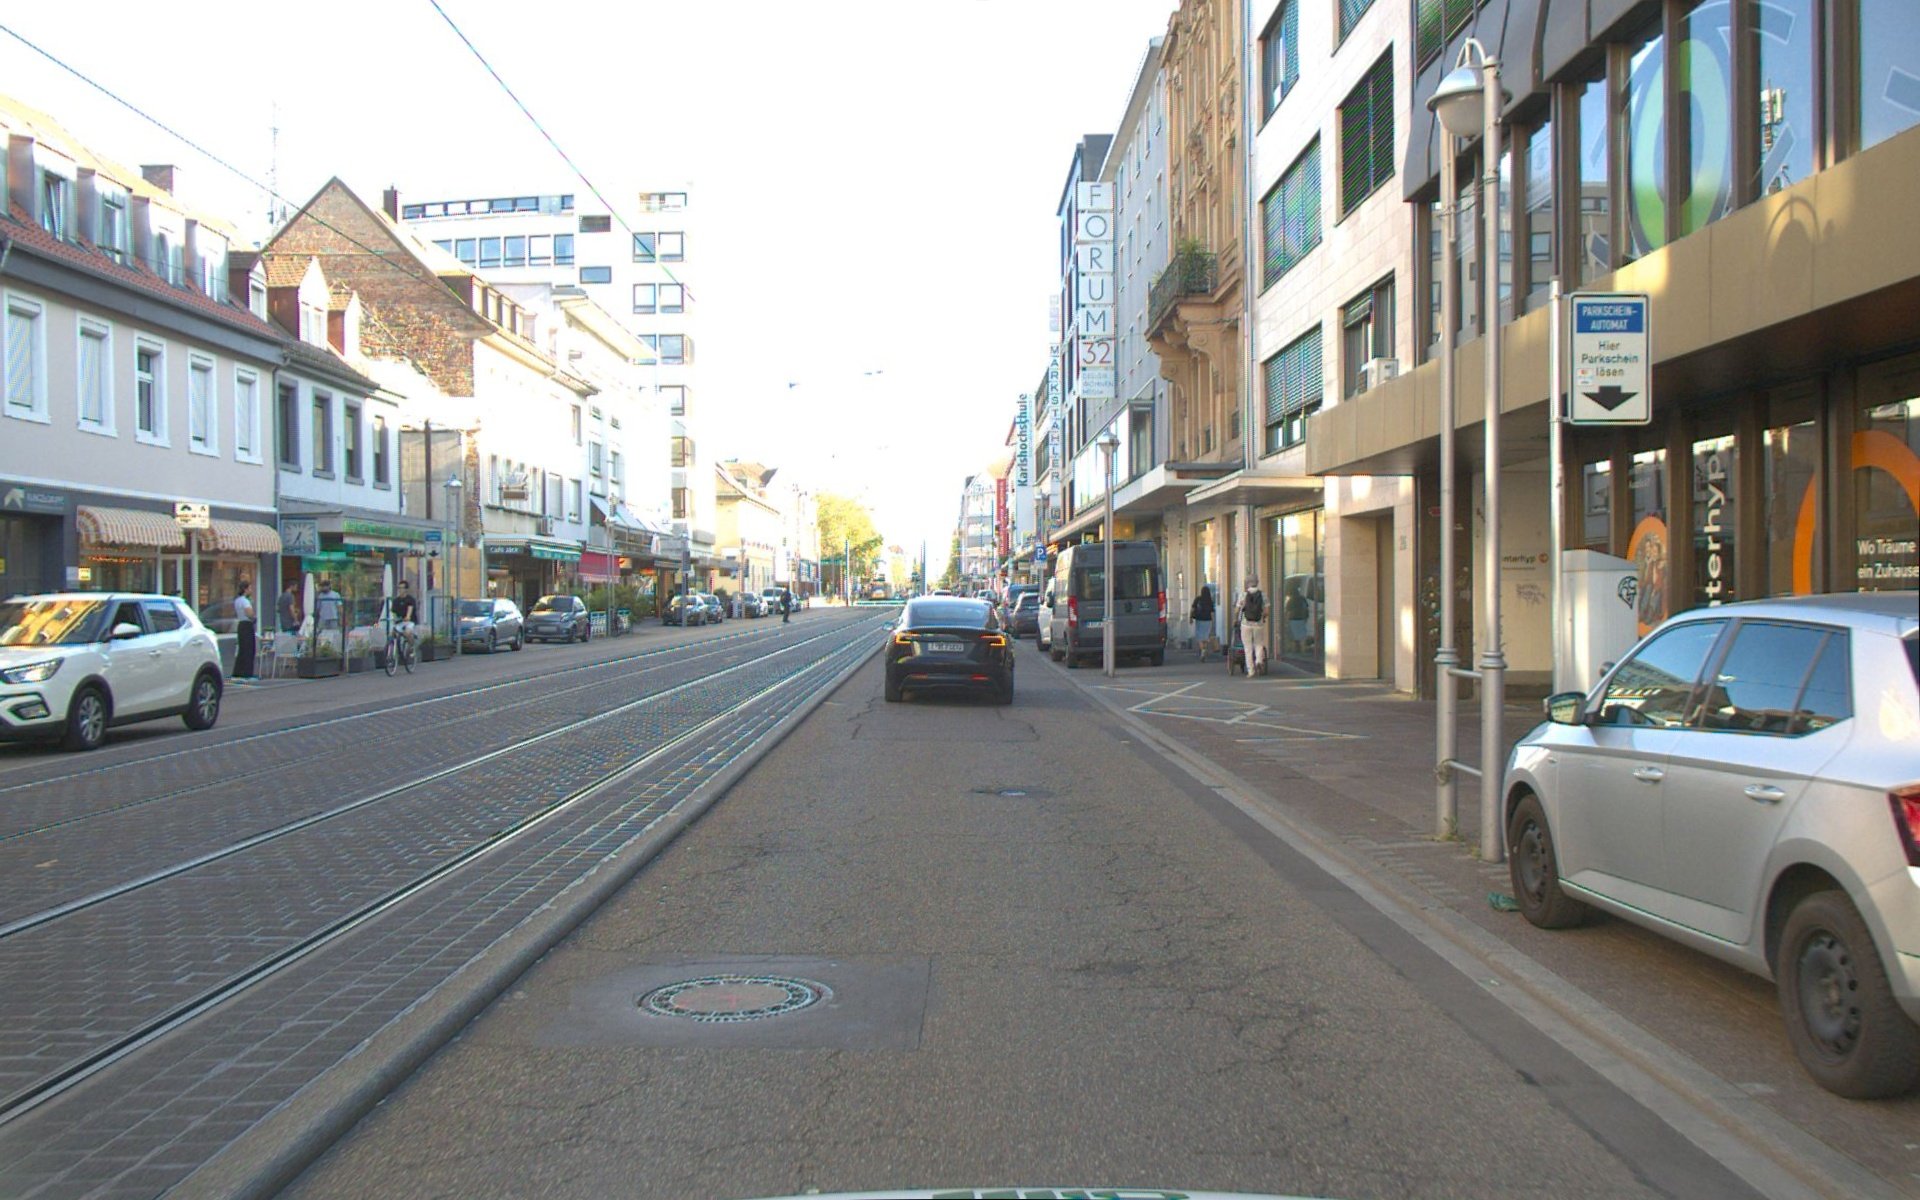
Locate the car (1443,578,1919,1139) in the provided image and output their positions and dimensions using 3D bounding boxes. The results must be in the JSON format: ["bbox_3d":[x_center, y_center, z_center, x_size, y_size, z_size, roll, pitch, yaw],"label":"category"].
[{"bbox_3d":[3.402,0.673,6.451,1.709,1.487,4.295,-1,0,-1],"label":"car"}]

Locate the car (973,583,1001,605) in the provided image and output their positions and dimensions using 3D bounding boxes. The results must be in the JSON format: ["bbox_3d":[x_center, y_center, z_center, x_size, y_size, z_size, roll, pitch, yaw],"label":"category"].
[{"bbox_3d":[2.003,-0.442,122.903,1.953,1.570,3.999,-1,0,-1],"label":"car"}]

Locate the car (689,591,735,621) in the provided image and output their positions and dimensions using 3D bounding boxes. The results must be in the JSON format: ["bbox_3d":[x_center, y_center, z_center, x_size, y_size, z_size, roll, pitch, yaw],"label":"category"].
[{"bbox_3d":[-13.453,0.304,89.866,1.733,1.534,3.862,-1,0,3],"label":"car"}]

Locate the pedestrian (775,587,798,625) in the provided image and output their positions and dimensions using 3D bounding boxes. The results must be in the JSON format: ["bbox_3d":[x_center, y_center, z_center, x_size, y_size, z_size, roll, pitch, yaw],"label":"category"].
[{"bbox_3d":[-8.664,0.290,82.489,0.757,1.881,0.827,-1,0,29],"label":"pedestrian"}]

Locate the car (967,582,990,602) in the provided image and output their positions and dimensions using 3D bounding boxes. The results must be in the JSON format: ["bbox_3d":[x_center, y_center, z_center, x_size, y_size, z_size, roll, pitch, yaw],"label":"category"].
[{"bbox_3d":[1.691,-0.723,151.396,1.953,1.784,3.999,-1,0,-1],"label":"car"}]

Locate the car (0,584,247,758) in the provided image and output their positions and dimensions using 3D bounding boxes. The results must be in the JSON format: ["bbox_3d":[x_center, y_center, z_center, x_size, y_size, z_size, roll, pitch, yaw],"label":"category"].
[{"bbox_3d":[-9.516,0.687,17.728,1.851,1.622,4.263,-2,0,0],"label":"car"}]

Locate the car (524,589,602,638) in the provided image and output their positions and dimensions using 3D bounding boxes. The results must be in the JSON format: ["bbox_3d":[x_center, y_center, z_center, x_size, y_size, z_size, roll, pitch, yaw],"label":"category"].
[{"bbox_3d":[-13.315,0.433,55.662,1.641,1.573,3.744,1,0,1],"label":"car"}]

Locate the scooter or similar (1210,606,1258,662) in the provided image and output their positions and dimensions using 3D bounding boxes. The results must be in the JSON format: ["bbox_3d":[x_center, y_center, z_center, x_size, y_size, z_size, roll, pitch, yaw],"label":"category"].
[{"bbox_3d":[5.036,0.612,30.403,0.581,0.952,1.298,-3,0,-2],"label":"scooter or similar"}]

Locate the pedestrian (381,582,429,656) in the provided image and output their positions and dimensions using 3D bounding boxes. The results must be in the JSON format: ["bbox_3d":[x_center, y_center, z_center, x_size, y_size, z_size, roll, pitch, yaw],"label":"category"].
[{"bbox_3d":[-11.203,0.384,33.408,0.611,1.469,0.875,-1,0,4],"label":"pedestrian"}]

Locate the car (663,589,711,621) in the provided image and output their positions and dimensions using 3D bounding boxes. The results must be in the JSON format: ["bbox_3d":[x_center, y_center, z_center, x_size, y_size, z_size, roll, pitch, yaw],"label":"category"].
[{"bbox_3d":[-13.781,0.249,83.790,1.733,1.534,3.864,-1,0,0],"label":"car"}]

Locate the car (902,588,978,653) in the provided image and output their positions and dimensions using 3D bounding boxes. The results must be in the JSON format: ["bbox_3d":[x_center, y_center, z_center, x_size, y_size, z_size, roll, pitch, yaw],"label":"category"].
[{"bbox_3d":[-0.509,0.476,39.867,1.726,1.443,4.353,-1,0,-2],"label":"car"}]

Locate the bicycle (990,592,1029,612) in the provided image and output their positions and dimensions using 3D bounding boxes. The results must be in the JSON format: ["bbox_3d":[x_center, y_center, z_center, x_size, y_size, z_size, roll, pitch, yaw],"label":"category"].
[{"bbox_3d":[2.785,0.115,93.208,2.116,1.116,0.686,-1,0,-3],"label":"bicycle"}]

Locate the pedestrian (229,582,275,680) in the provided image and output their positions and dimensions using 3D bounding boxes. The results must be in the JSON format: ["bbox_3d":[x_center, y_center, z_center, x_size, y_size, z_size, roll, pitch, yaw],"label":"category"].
[{"bbox_3d":[-13.205,0.568,30.828,0.609,1.806,0.708,-1,0,-39],"label":"pedestrian"}]

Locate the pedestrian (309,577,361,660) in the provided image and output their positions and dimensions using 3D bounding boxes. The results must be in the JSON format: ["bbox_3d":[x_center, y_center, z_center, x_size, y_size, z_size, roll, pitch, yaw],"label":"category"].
[{"bbox_3d":[-13.824,0.400,36.600,0.868,1.806,0.688,-1,0,-2],"label":"pedestrian"}]

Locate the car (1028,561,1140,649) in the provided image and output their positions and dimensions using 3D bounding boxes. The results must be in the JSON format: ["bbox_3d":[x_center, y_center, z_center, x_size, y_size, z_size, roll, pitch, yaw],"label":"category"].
[{"bbox_3d":[3.081,0.097,42.037,2.116,1.959,4.614,-4,1,-3],"label":"car"}]

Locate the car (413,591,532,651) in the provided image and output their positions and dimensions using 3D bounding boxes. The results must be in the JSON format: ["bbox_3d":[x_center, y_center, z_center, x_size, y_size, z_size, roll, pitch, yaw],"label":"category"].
[{"bbox_3d":[-13.355,0.579,45.625,1.953,1.558,4.755,0,-1,-1],"label":"car"}]

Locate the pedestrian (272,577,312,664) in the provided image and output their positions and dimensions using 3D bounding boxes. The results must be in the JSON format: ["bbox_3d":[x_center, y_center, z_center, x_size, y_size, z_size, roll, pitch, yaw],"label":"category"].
[{"bbox_3d":[-14.419,0.431,35.713,0.644,1.855,0.642,-1,0,-6],"label":"pedestrian"}]

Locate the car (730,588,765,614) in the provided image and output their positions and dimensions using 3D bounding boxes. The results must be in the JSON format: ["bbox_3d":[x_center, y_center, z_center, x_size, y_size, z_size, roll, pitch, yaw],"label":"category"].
[{"bbox_3d":[-13.747,0.055,107.109,1.682,1.599,3.850,-1,0,1],"label":"car"}]

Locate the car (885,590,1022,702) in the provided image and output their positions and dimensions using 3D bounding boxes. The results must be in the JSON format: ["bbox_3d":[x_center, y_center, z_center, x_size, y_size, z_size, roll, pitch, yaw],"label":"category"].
[{"bbox_3d":[-0.089,0.604,24.317,1.831,1.452,4.364,0,1,0],"label":"car"}]

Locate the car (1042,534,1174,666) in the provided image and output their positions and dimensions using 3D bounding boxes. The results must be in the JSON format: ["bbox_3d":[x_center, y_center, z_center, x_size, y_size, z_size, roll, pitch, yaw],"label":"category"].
[{"bbox_3d":[3.069,-0.032,35.475,2.127,2.504,5.360,-3,1,-1],"label":"car"}]

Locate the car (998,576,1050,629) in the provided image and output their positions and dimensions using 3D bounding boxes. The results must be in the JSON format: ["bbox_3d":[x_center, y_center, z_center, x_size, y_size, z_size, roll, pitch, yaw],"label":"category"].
[{"bbox_3d":[2.359,0.063,62.014,1.784,1.903,3.753,0,1,0],"label":"car"}]

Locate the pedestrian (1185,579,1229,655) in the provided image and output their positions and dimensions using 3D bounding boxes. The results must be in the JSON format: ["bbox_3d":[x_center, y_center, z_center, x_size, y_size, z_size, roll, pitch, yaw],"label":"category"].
[{"bbox_3d":[5.265,0.347,35.275,0.753,1.570,0.804,-3,0,-1],"label":"pedestrian"}]

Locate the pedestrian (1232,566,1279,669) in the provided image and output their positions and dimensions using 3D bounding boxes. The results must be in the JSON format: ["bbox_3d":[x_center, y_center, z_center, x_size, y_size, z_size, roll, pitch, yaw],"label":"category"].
[{"bbox_3d":[5.163,0.289,28.908,0.545,1.744,0.954,-3,0,-2],"label":"pedestrian"}]

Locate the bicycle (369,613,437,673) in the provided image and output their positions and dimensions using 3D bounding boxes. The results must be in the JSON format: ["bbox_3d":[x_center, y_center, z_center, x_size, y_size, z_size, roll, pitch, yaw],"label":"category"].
[{"bbox_3d":[-11.203,0.847,33.342,0.566,1.135,1.954,-1,0,4],"label":"bicycle"}]

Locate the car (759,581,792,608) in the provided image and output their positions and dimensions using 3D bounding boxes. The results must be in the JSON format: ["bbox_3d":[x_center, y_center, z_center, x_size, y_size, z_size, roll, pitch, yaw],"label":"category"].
[{"bbox_3d":[-14.090,-0.428,126.418,1.968,1.995,4.724,-1,0,-1],"label":"car"}]

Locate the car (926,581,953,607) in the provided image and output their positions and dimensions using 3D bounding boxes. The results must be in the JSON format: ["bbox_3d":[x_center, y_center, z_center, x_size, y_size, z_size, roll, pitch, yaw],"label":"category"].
[{"bbox_3d":[-1.546,-0.459,126.331,2.042,1.903,3.753,0,1,0],"label":"car"}]

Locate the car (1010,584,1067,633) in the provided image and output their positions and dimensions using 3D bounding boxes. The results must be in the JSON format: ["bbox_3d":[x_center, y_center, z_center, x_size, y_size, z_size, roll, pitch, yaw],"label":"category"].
[{"bbox_3d":[2.615,0.268,55.880,1.716,1.525,3.753,-1,1,0],"label":"car"}]

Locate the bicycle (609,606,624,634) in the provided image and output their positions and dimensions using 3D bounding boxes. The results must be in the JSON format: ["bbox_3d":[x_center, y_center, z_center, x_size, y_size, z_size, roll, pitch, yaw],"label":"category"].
[{"bbox_3d":[-12.978,0.745,62.515,0.363,1.019,1.596,-1,0,-18],"label":"bicycle"}]

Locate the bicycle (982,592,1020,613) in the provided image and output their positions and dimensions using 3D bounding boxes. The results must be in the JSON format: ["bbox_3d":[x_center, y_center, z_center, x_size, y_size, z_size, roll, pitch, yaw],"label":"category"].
[{"bbox_3d":[2.326,0.131,94.088,2.116,1.116,0.686,-1,0,-3],"label":"bicycle"}]
